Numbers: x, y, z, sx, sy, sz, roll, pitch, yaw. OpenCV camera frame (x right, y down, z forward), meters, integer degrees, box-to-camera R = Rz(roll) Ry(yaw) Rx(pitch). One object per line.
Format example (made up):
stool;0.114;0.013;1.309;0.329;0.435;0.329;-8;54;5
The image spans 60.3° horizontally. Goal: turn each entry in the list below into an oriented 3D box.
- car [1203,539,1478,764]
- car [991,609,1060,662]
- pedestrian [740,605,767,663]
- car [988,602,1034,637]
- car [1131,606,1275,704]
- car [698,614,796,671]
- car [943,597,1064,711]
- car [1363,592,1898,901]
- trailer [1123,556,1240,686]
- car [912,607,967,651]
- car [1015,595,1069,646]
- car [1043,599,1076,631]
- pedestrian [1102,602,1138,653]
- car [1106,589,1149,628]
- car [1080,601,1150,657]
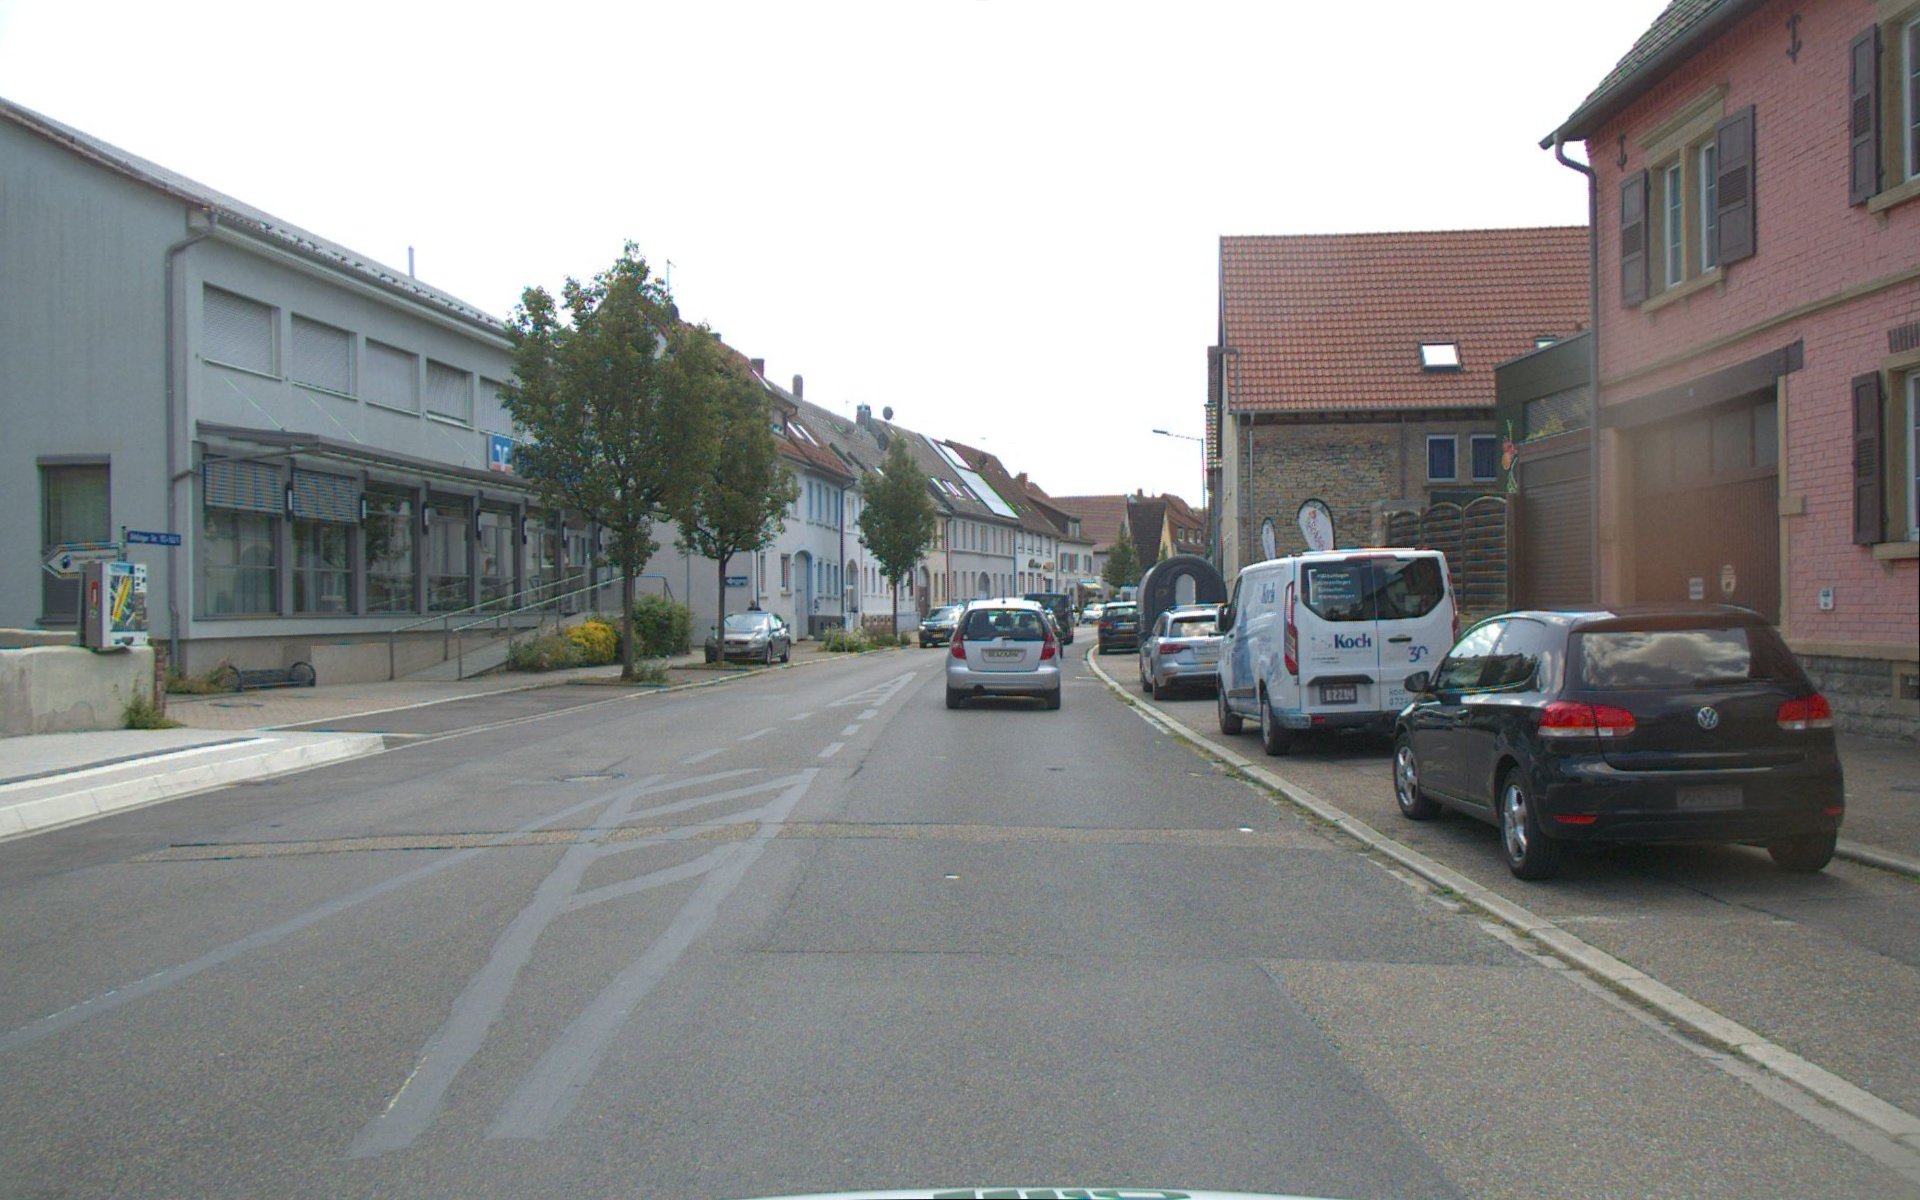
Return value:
car;3.970;0.503;18.143;1.853;2.016;4.931;-4;-1;1
car;1.931;1.012;48.032;1.904;1.432;4.001;1;-1;3
pedestrian;-6.716;1.099;53.720;0.723;1.833;0.643;-2;-1;2
car;3.017;1.123;96.728;2.047;1.917;4.003;-1;0;11
car;4.015;0.861;28.037;1.836;1.507;4.675;-1;0;1
car;-5.877;1.148;46.016;1.766;1.486;4.161;-1;0;6
car;0.679;0.820;26.048;1.732;1.622;4.000;1;-1;1
car;3.918;0.759;10.502;1.738;1.521;4.162;-2;0;1
trailer;4.366;0.401;33.053;1.807;2.395;3.589;-2;0;0
car;-0.768;1.113;64.320;1.706;1.553;4.022;-3;0;5
car;3.310;0.841;65.870;1.731;1.921;4.450;1;-1;8
car;6.933;1.059;114.680;1.951;2.049;4.003;-2;-1;7
pedestrian;5.904;1.000;61.065;1.072;1.853;1.470;-1;-1;14
car;10.573;0.554;103.922;2.188;2.261;4.003;-2;-1;12
car;4.915;0.876;52.036;1.951;1.586;4.003;-3;0;8
